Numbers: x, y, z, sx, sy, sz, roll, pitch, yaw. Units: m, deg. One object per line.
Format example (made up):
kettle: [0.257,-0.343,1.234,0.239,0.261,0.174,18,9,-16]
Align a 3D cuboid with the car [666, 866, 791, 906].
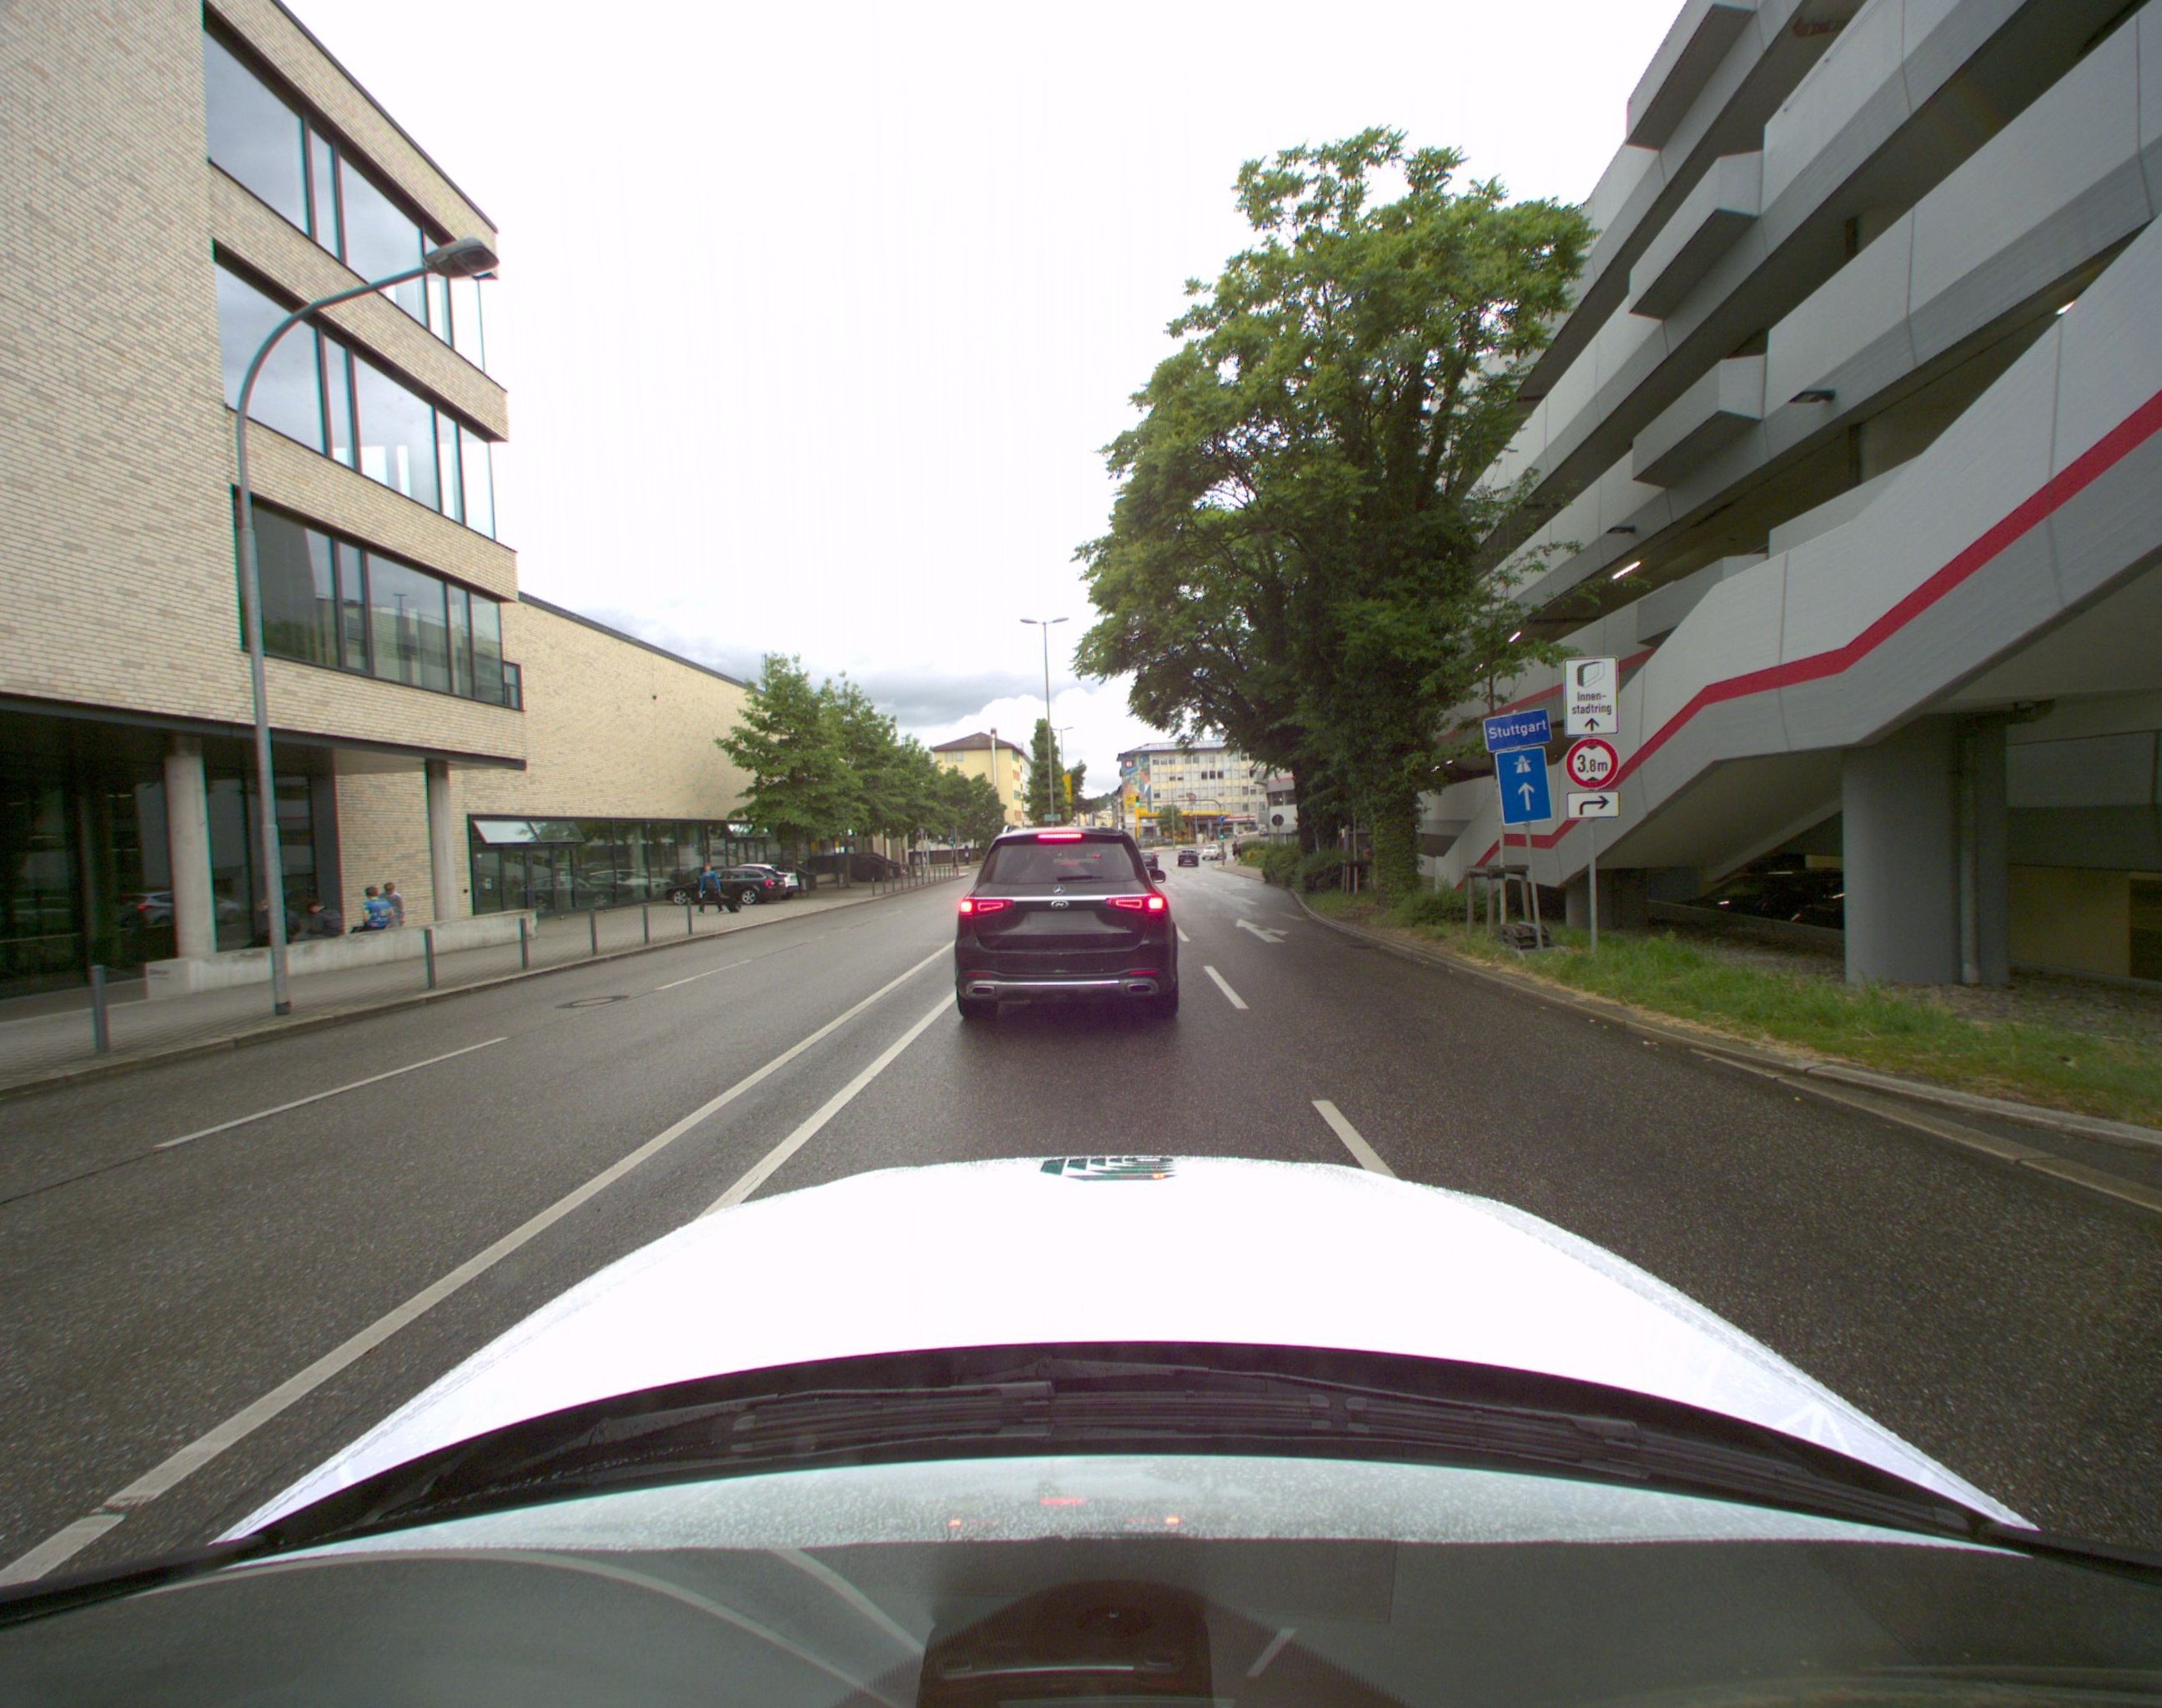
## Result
car: [-14.070,1.248,32.724,4.169,1.495,1.997,0,-1,-5]

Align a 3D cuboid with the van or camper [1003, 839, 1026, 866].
van or camper: [-6.903,-0.157,84.985,2.098,2.582,5.898,-4,0,-4]

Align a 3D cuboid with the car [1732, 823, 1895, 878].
car: [26.230,-0.117,29.305,3.958,1.783,1.823,-2,0,14]

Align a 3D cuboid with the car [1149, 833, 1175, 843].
car: [12.774,-2.511,128.486,1.747,1.376,3.952,-4,1,-42]

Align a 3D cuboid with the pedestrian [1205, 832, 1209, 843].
pedestrian: [18.606,-2.454,120.100,0.570,1.697,0.631,0,-1,3]

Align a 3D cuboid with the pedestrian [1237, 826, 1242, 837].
pedestrian: [26.499,-3.801,136.311,0.521,1.727,0.693,-2,1,28]

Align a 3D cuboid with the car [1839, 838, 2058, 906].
car: [24.795,0.505,23.452,3.958,1.783,1.823,-2,0,14]

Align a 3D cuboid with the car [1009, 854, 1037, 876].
car: [-4.330,0.789,61.473,1.735,1.470,3.882,-4,0,0]

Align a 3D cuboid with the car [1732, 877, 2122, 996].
car: [12.939,1.236,12.717,3.966,1.624,1.842,-1,0,6]

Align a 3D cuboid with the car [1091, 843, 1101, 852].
car: [3.296,-1.382,173.168,1.985,2.014,4.003,0,-1,3]

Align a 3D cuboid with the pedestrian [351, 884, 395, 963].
pedestrian: [-13.625,1.334,15.676,0.448,1.475,0.463,0,-1,-4]

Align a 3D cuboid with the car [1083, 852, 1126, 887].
car: [1.099,0.704,37.831,1.900,1.501,4.001,0,-1,2]

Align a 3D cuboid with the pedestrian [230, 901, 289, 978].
pedestrian: [-13.527,1.400,13.415,0.546,1.215,0.422,0,-1,4]

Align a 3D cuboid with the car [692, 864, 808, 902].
car: [-14.167,1.222,35.031,4.158,1.547,2.002,0,-1,3]

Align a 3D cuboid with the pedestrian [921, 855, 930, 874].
pedestrian: [-13.634,0.927,71.541,0.641,1.665,1.017,0,-1,-4]

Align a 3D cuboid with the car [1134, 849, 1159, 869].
car: [5.103,0.372,63.967,1.789,1.525,4.058,0,1,2]

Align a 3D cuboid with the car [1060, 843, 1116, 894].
car: [0.313,0.542,31.302,1.986,1.800,4.001,0,-1,2]

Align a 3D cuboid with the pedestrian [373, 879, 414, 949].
pedestrian: [-14.947,1.288,17.706,0.440,1.475,0.528,0,-1,-3]

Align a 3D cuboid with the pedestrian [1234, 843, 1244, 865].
pedestrian: [12.620,-0.016,65.178,0.639,1.710,0.474,-2,-1,38]

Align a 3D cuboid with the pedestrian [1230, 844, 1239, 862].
pedestrian: [14.030,-0.106,74.327,0.716,1.690,0.455,0,-1,-5]

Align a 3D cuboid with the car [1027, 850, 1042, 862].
car: [-6.162,0.247,107.727,1.792,1.495,3.802,0,-1,-1]

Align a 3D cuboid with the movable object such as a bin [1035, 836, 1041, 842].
movable object such as a bin: [-7.513,-2.616,141.465,0.906,1.038,0.844,0,-1,2]

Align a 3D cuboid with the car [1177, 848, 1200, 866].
car: [9.201,0.229,69.838,1.935,1.486,4.007,0,-1,7]

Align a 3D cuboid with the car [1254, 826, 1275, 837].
car: [31.120,-3.799,137.863,1.974,1.705,4.026,-2,1,35]

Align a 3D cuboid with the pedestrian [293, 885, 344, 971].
pedestrian: [-13.530,1.299,14.456,0.448,1.475,0.463,0,-1,-4]

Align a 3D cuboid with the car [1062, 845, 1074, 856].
car: [-2.074,-0.611,130.311,1.900,1.703,3.998,0,-1,-1]

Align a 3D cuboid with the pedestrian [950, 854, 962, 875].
pedestrian: [-10.427,0.876,67.857,0.948,1.704,0.709,0,-1,-16]

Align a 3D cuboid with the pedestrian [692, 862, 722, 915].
pedestrian: [-12.396,1.141,26.975,0.632,1.714,0.705,0,-1,4]

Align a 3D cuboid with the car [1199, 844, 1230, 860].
car: [13.460,-0.162,81.867,1.737,1.549,4.025,-1,-1,30]

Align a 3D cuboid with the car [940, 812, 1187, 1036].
car: [-0.078,0.581,8.588,1.986,1.800,4.001,0,-1,2]

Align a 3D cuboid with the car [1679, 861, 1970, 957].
car: [13.903,1.003,15.454,3.713,1.540,1.815,-1,3,7]

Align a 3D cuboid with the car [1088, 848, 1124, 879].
car: [1.370,0.502,44.386,1.900,1.586,4.001,0,-1,2]
